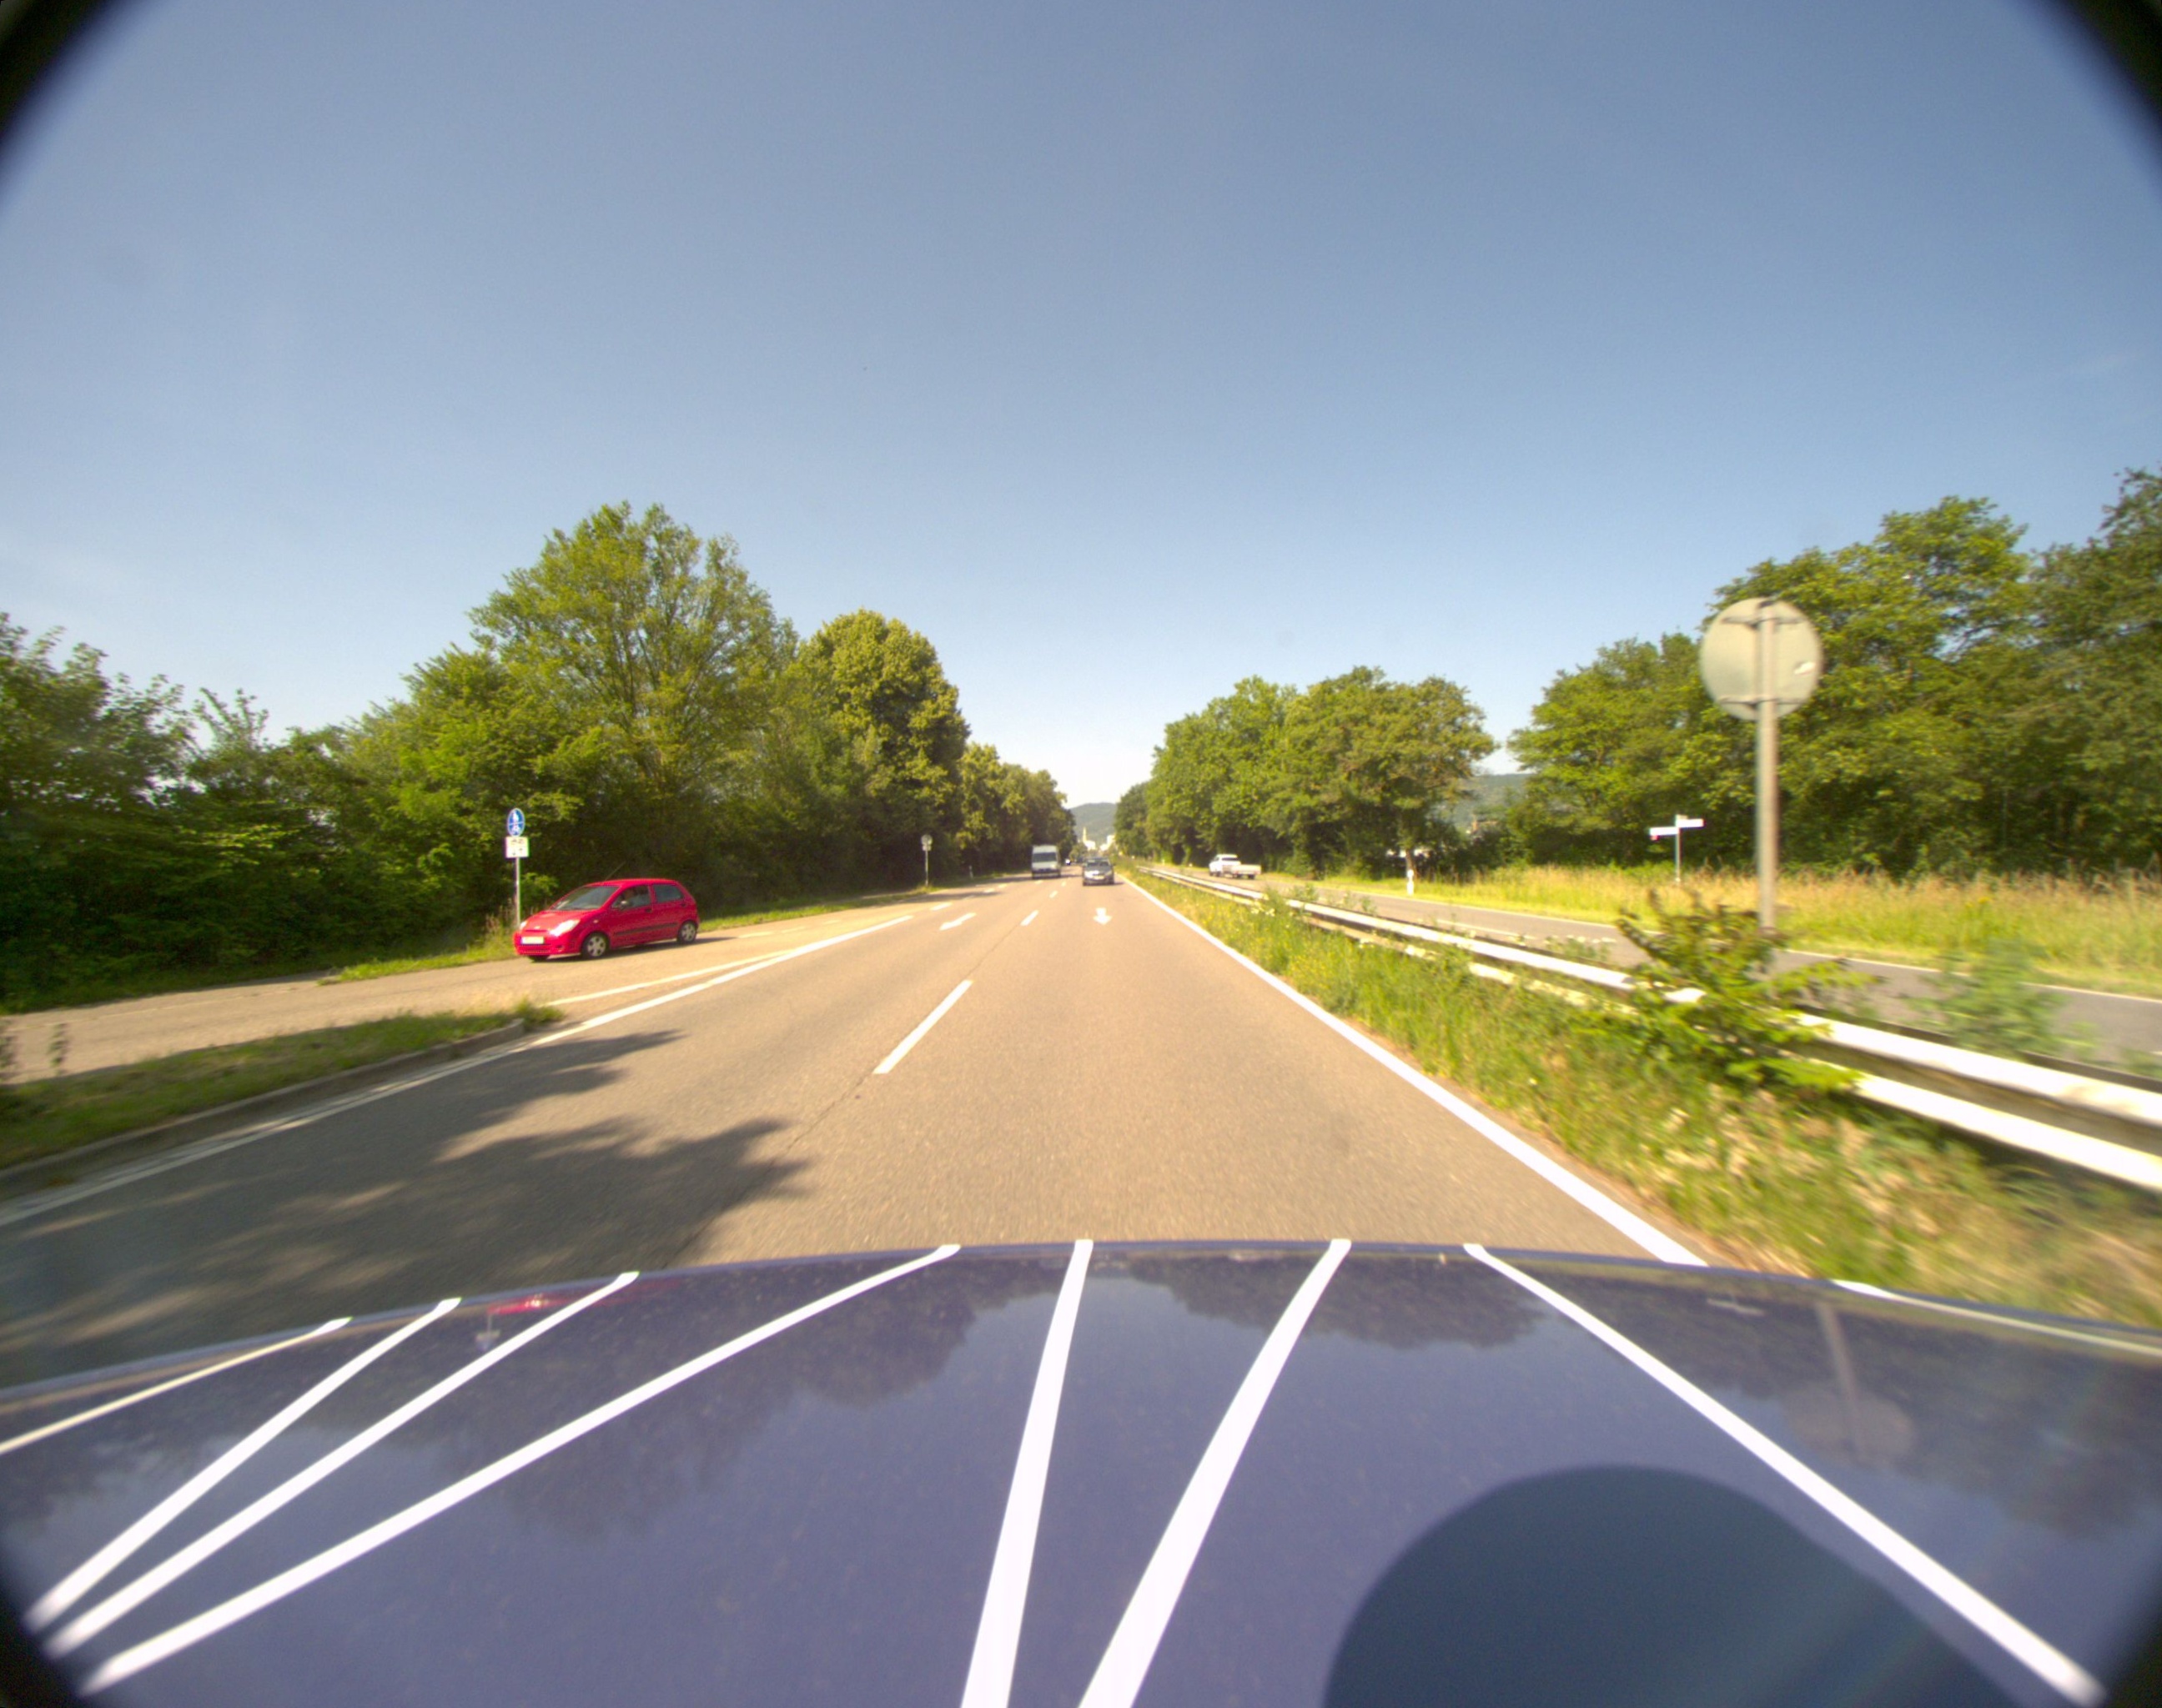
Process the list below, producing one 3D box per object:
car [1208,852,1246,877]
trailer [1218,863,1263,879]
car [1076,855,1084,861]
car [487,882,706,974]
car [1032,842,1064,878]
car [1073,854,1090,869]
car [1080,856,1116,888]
[{"bbox_3d":[10.860,0.729,56.784,1.998,1.691,4.813,1,1,1],"label":"car"},{"bbox_3d":[10.764,1.103,51.580,1.969,0.955,5.598,0,0,1],"label":"trailer"},{"bbox_3d":[-0.228,1.084,197.177,1.825,1.591,4.000,-1,0,1],"label":"car"},{"bbox_3d":[-9.588,1.401,15.385,1.547,1.445,3.572,-2,1,15],"label":"car"},{"bbox_3d":[-2.378,0.376,56.252,1.998,2.433,5.088,-2,1,1],"label":"car"},{"bbox_3d":[0.103,0.756,81.050,1.678,1.435,3.622,-2,1,1],"label":"car"},{"bbox_3d":[0.852,0.856,38.100,1.678,1.434,4.362,-2,0,1],"label":"car"}]
